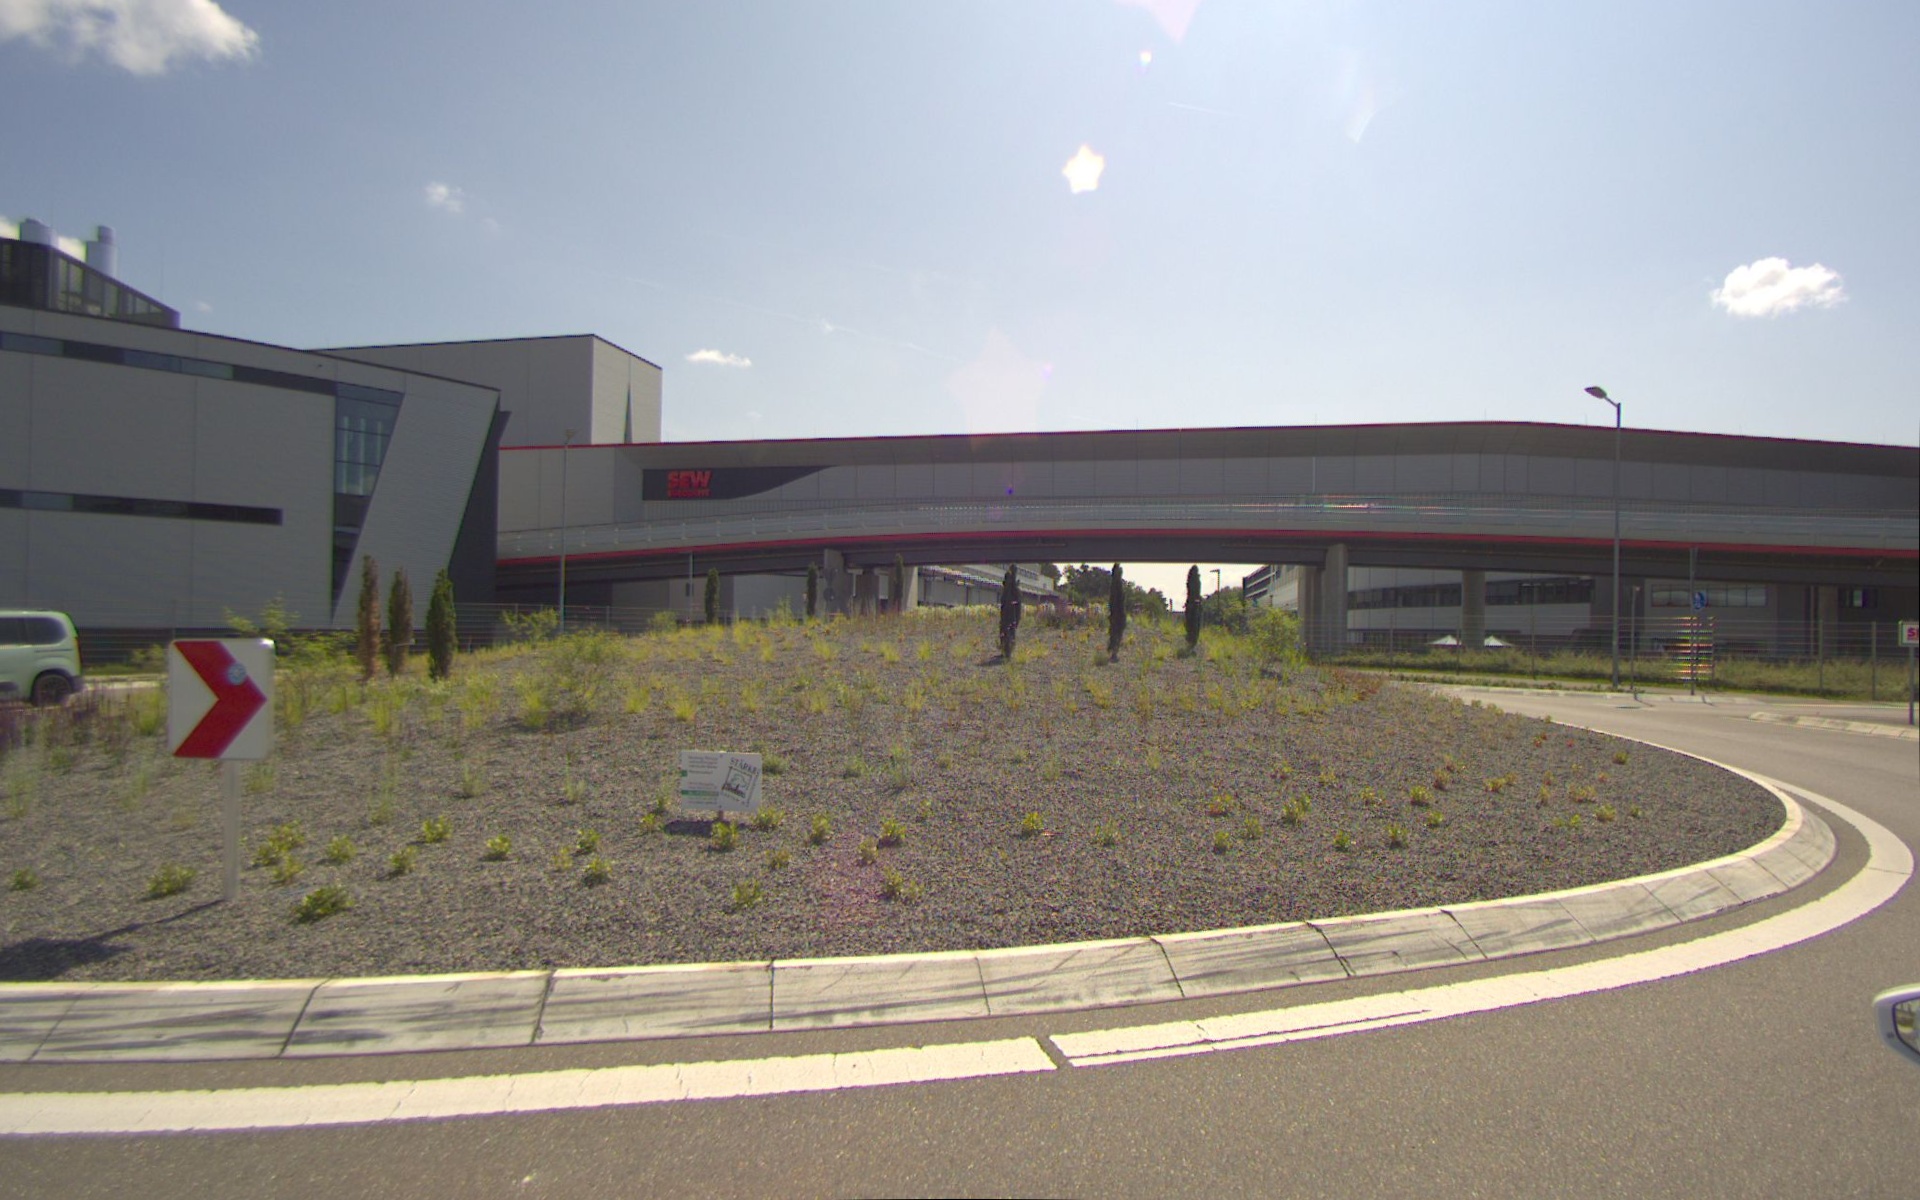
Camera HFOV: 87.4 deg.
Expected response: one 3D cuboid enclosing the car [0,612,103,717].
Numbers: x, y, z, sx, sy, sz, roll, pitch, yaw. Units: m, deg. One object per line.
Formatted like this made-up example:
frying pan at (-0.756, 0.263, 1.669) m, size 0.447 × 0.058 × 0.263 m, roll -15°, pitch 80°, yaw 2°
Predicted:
car at (-17.504, 1.089, 16.818) m, size 1.959 × 1.803 × 4.564 m, roll 0°, pitch -1°, yaw 11°
